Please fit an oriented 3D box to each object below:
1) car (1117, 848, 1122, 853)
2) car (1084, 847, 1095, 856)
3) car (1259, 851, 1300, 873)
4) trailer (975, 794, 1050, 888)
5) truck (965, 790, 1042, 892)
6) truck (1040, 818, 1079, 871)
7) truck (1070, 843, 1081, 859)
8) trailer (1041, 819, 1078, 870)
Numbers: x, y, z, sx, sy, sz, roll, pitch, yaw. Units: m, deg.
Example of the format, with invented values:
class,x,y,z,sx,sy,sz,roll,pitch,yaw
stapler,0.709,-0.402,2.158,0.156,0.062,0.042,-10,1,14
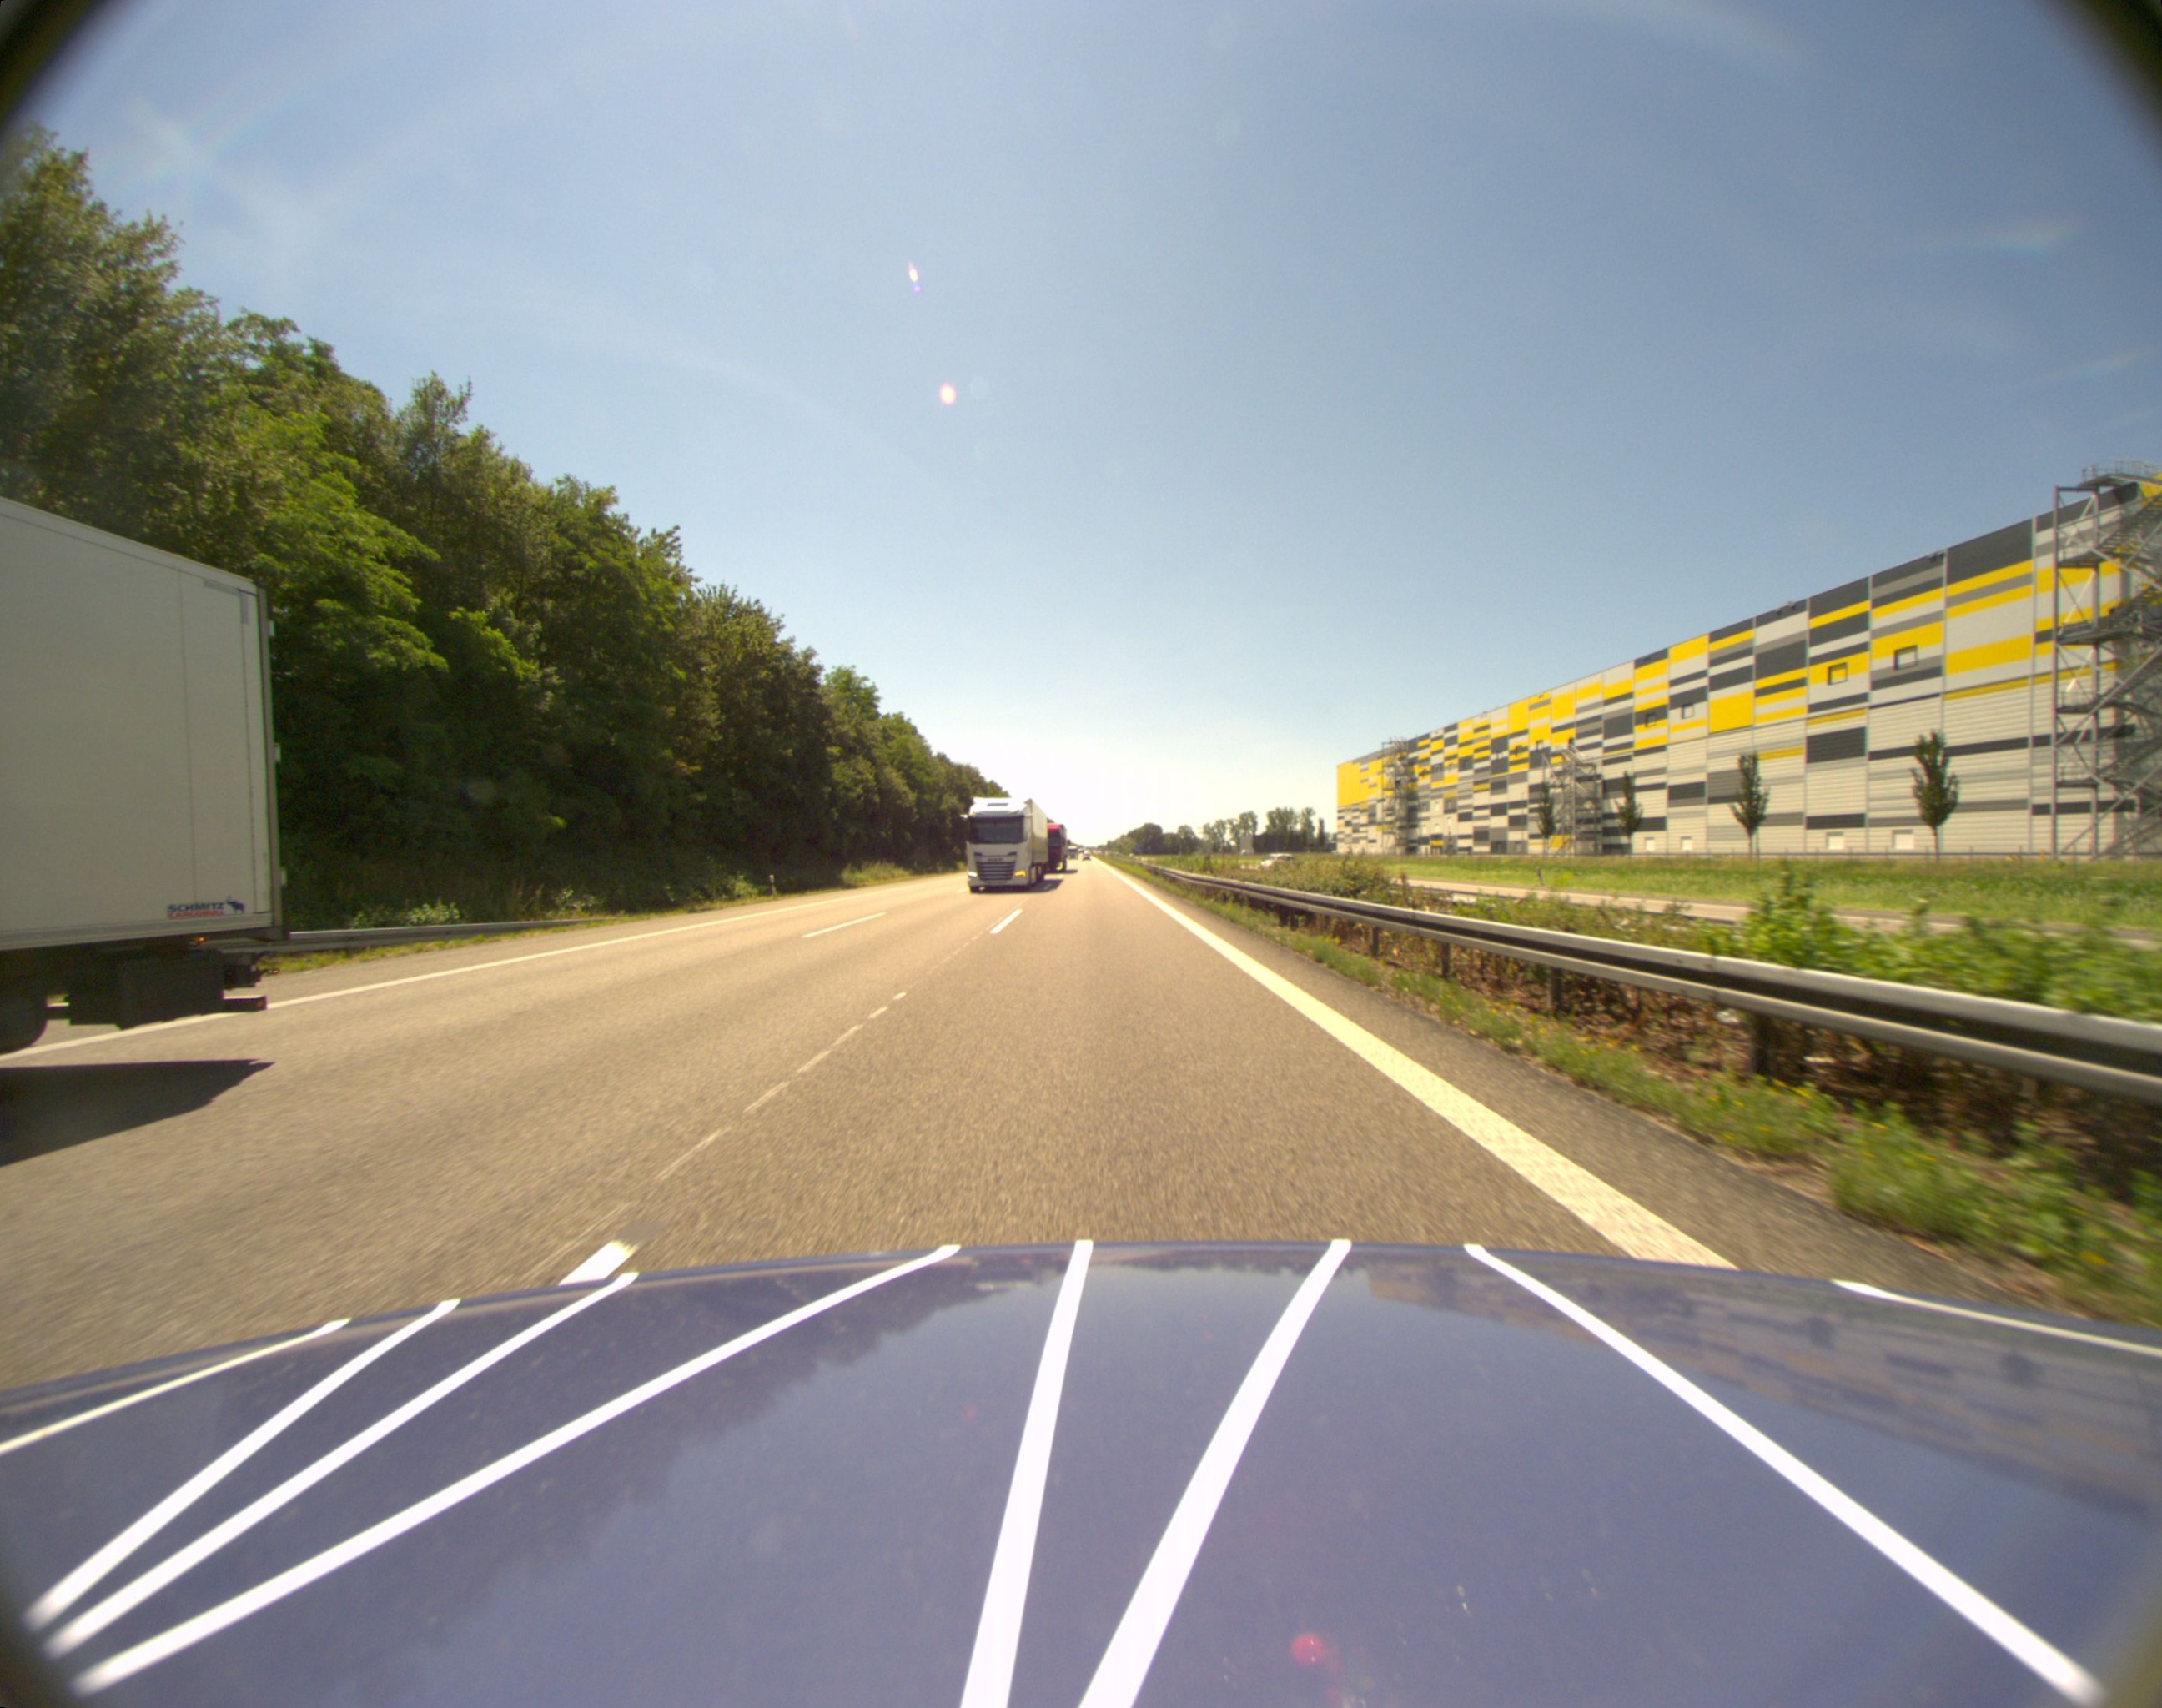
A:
class,x,y,z,sx,sy,sz,roll,pitch,yaw
car,12.346,-1.122,243.311,1.661,1.573,4.334,1,0,1
car,1.826,-0.562,161.846,2.073,1.959,5.109,0,0,-1
car,14.138,0.539,54.381,1.637,1.419,4.660,1,0,0
trailer,-3.291,-0.610,40.498,2.684,4.046,13.833,-2,0,0
truck,-3.259,-0.536,33.632,2.684,4.046,6.048,-2,1,0
truck,-1.717,-0.758,61.871,2.870,4.046,5.770,-2,1,-1
truck,-1.485,-0.852,208.921,2.999,4.046,5.770,-2,1,0
trailer,-1.860,-0.778,68.578,2.886,4.046,13.832,-2,0,-1
